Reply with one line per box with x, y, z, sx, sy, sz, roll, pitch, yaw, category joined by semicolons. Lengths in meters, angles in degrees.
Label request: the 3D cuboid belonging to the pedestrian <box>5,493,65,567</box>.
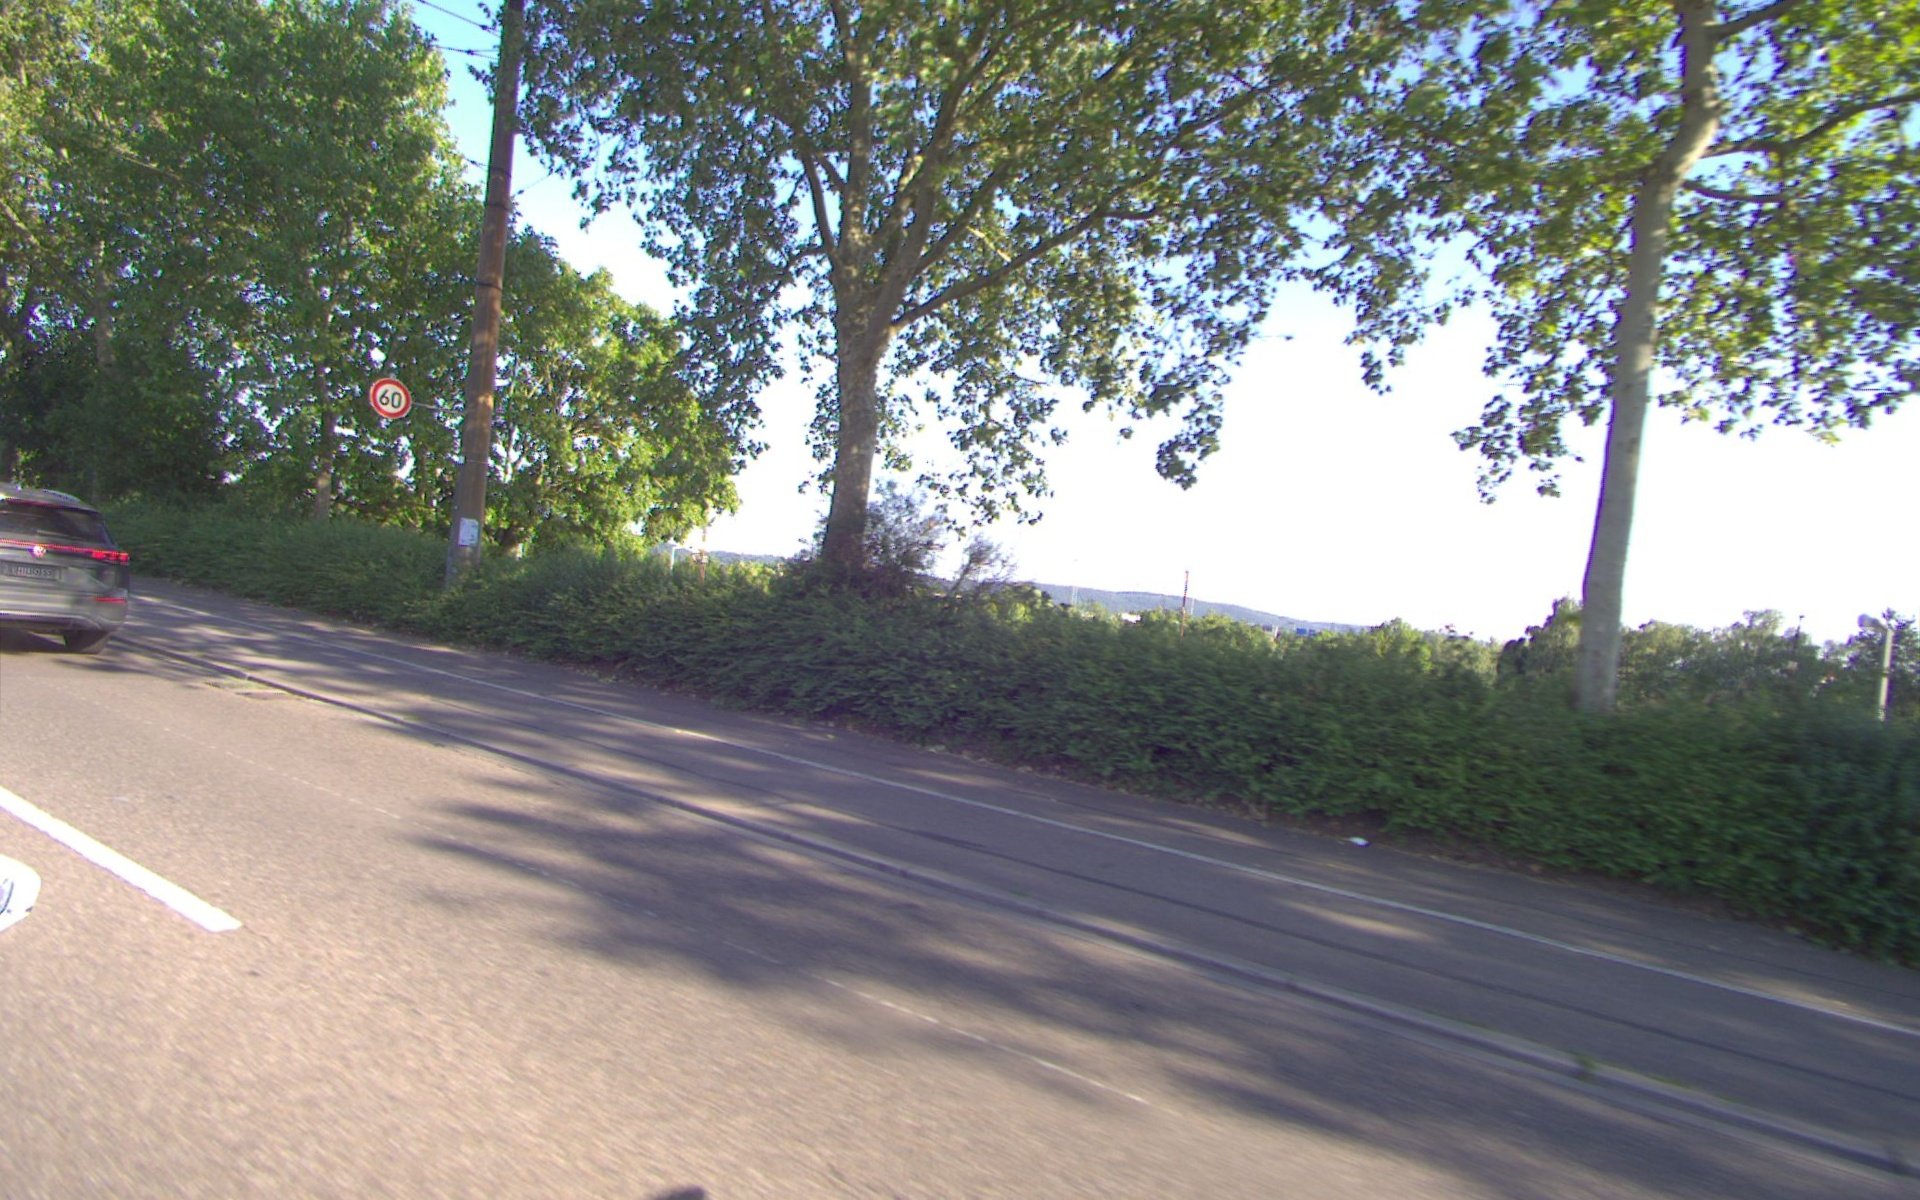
-20.296;-1.534;22.083;0.710;1.499;0.724;7;1;32;pedestrian

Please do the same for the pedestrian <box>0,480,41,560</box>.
-21.713;-1.842;23.004;0.799;1.729;0.723;7;1;32;pedestrian

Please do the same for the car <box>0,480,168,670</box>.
-10.463;-0.438;10.508;4.365;1.680;1.848;7;-2;30;car
